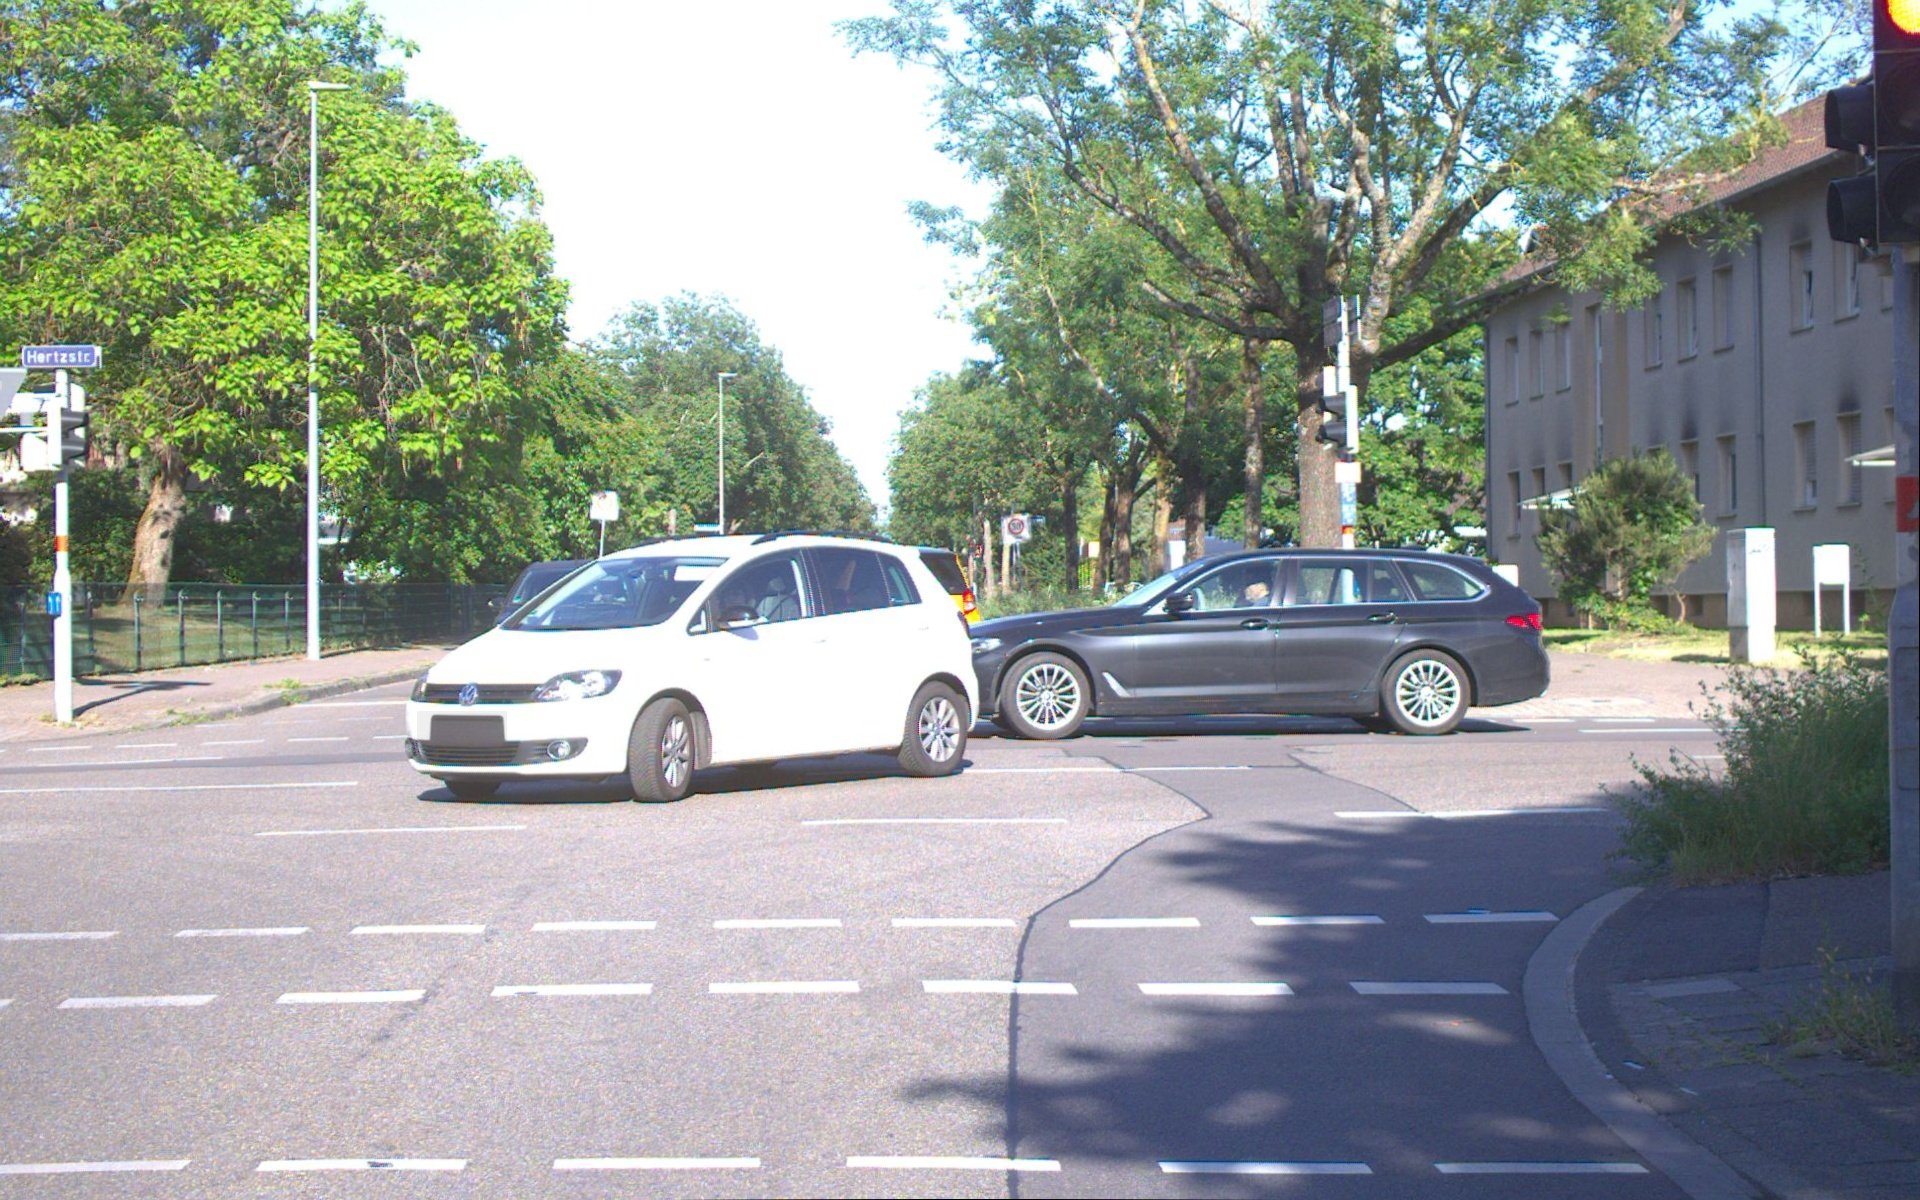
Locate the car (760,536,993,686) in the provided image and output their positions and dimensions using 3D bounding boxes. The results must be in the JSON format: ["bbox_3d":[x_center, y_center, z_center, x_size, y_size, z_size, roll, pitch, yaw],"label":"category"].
[{"bbox_3d":[-0.990,0.100,38.316,1.751,1.577,4.001,1,0,-14],"label":"car"}]

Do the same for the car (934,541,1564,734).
[{"bbox_3d":[2.215,0.267,27.275,4.727,1.425,2.000,0,1,-4],"label":"car"}]

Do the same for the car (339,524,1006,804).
[{"bbox_3d":[-1.695,0.328,21.456,1.756,1.558,4.111,-1,1,39],"label":"car"}]

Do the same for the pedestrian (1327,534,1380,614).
[{"bbox_3d":[7.482,-0.493,65.329,0.842,1.488,0.924,2,1,-1],"label":"pedestrian"}]

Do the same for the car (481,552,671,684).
[{"bbox_3d":[-4.270,0.169,38.631,1.711,1.381,3.471,0,1,0],"label":"car"}]
